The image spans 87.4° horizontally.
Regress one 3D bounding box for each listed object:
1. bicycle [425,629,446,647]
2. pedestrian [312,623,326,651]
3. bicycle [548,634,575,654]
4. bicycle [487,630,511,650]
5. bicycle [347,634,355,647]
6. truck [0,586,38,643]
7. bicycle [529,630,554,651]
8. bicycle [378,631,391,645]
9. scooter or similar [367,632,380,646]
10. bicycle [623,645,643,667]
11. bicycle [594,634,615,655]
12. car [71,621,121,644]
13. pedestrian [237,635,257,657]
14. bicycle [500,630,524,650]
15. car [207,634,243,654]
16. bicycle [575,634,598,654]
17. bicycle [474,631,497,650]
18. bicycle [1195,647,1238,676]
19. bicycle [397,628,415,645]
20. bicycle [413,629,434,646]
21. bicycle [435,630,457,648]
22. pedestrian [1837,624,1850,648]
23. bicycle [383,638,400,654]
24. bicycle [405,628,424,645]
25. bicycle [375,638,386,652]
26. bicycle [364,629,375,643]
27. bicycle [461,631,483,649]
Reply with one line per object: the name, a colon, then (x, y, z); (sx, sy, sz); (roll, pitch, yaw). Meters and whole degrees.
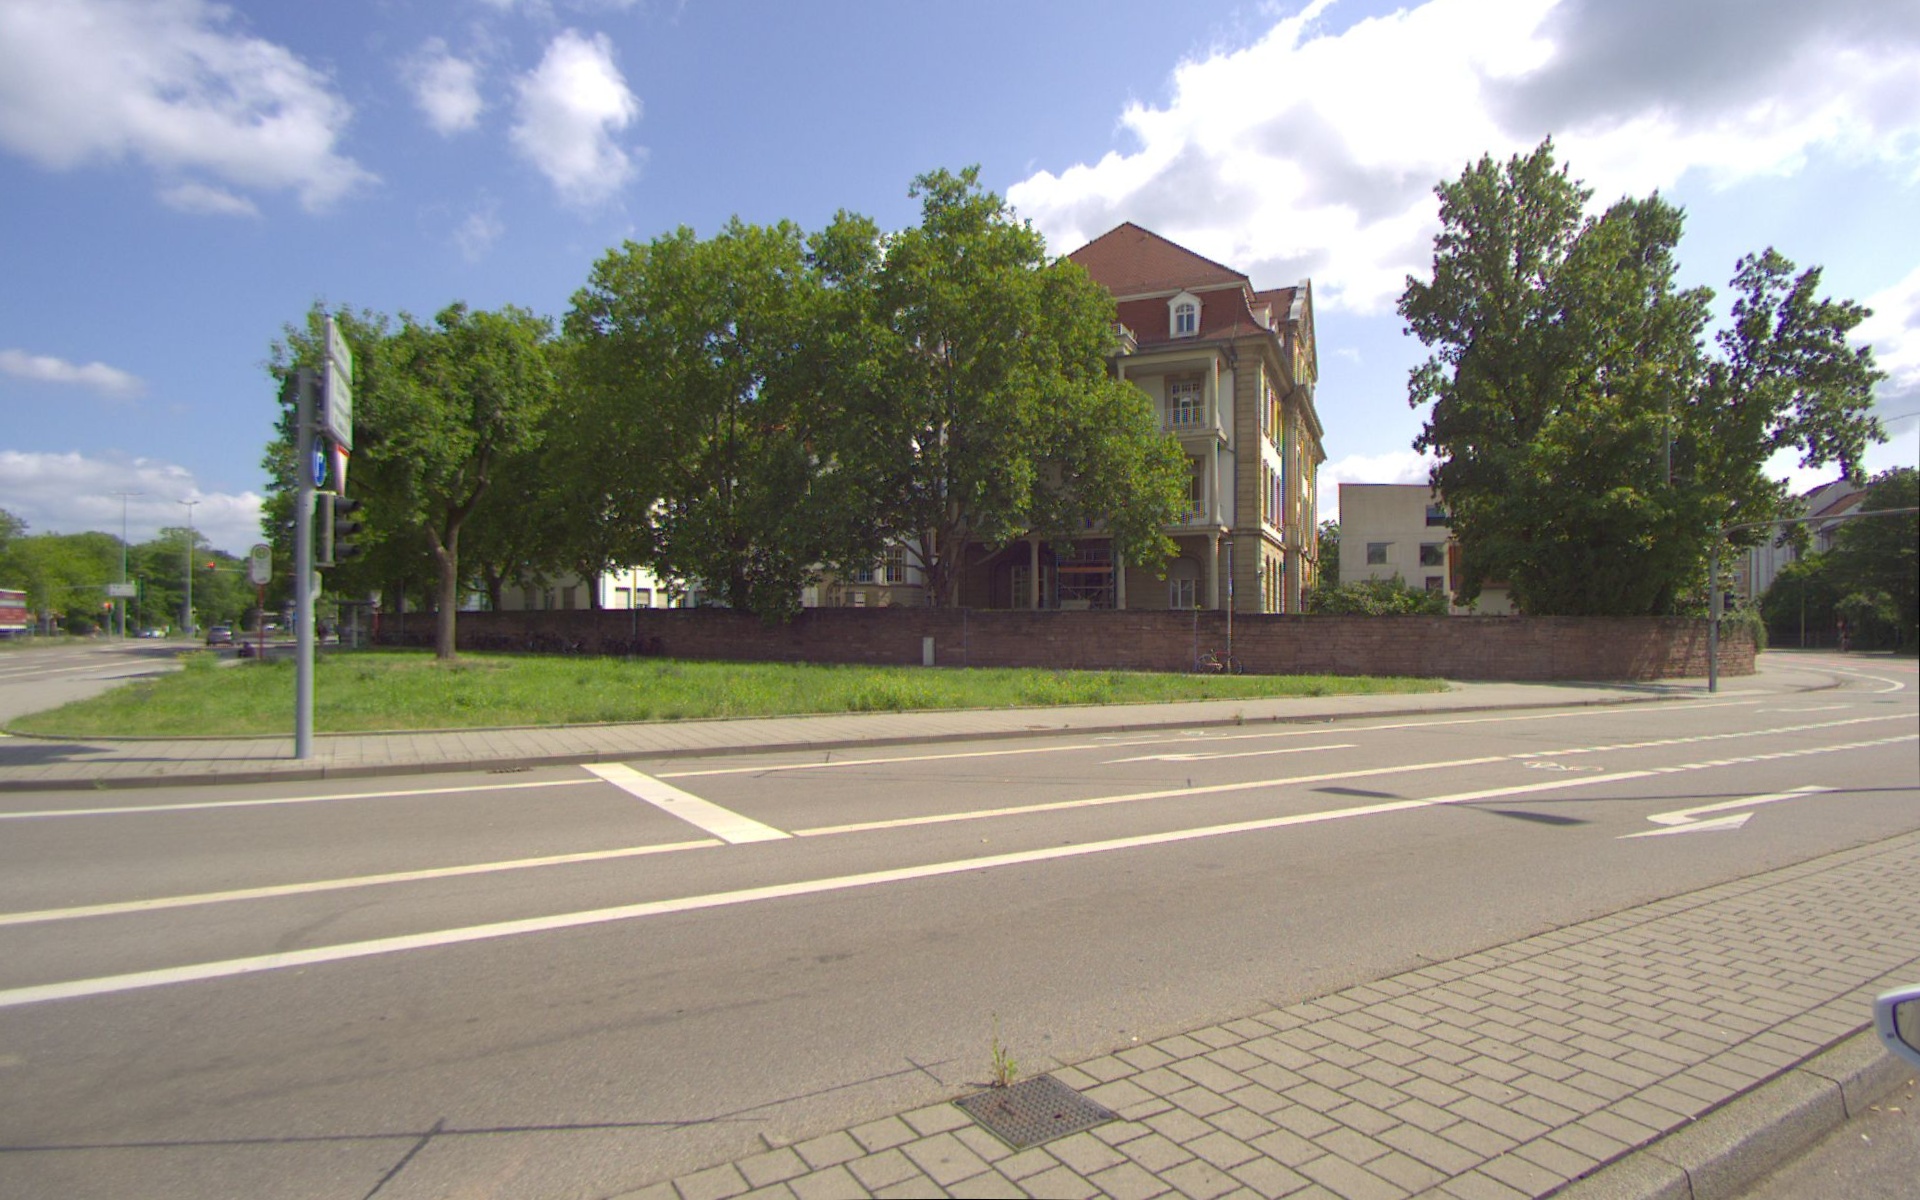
bicycle: (-32.746, 2.354, 62.688); (1.729, 1.087, 0.581); (-1, -2, 40)
pedestrian: (-37.580, 2.166, 58.899); (0.650, 1.631, 0.739); (-1, -1, -28)
bicycle: (-20.901, 2.288, 52.638); (1.935, 1.024, 0.470); (-1, -2, 41)
bicycle: (-26.078, 2.262, 56.824); (1.607, 1.087, 0.581); (-1, -2, 40)
bicycle: (-49.295, 3.289, 81.305); (0.368, 1.062, 1.861); (1, -2, -38)
truck: (-66.778, 1.028, 68.815); (2.630, 3.849, 9.133); (0, -1, -25)
bicycle: (-22.419, 2.158, 53.810); (1.845, 1.087, 0.580); (-2, -2, 44)
bicycle: (-40.407, 2.663, 70.529); (0.368, 0.968, 1.606); (1, -2, -44)
scooter or similar: (-42.879, 2.848, 73.441); (0.577, 1.062, 1.861); (1, -2, -38)
bicycle: (-15.956, 2.727, 49.052); (1.236, 1.024, 0.352); (-1, -2, 41)
bicycle: (-17.754, 2.206, 50.125); (1.350, 1.024, 0.390); (-1, -2, 41)
car: (-81.615, 3.064, 94.883); (3.922, 2.040, 2.000); (0, -1, 21)
pedestrian: (-33.328, 2.136, 46.969); (0.688, 0.975, 0.737); (0, -1, -30)
bicycle: (-24.832, 2.228, 55.701); (1.607, 1.087, 0.581); (-1, -2, 40)
car: (-56.582, 3.361, 77.416); (1.685, 1.464, 4.114); (2, -2, -29)
bicycle: (-19.001, 2.231, 51.149); (1.435, 1.024, 0.470); (-1, -2, 41)
bicycle: (-27.377, 2.316, 57.886); (1.607, 1.087, 0.581); (-1, -2, 40)
bicycle: (9.202, 2.199, 36.085); (1.492, 1.005, 0.394); (0, -1, 14)
bicycle: (-36.690, 2.425, 66.531); (0.580, 1.087, 1.733); (1, -2, -44)
bicycle: (-34.098, 2.378, 63.833); (1.729, 1.087, 0.581); (-1, -2, 40)
bicycle: (-31.458, 2.371, 61.462); (1.729, 1.087, 0.581); (-1, -2, 40)
pedestrian: (78.125, 3.177, 88.800); (0.685, 2.040, 0.894); (0, -1, 27)
bicycle: (-38.946, 3.157, 68.840); (0.580, 1.087, 1.733); (1, -2, -44)
bicycle: (-35.379, 2.385, 65.132); (1.732, 1.087, 0.580); (-2, -2, 45)
bicycle: (-41.408, 3.184, 71.809); (0.365, 0.968, 1.384); (1, -2, -44)
bicycle: (-41.355, 2.499, 70.355); (0.362, 0.968, 1.617); (0, -1, -20)
bicycle: (-28.643, 2.343, 58.948); (1.607, 1.087, 0.581); (-1, -2, 40)
